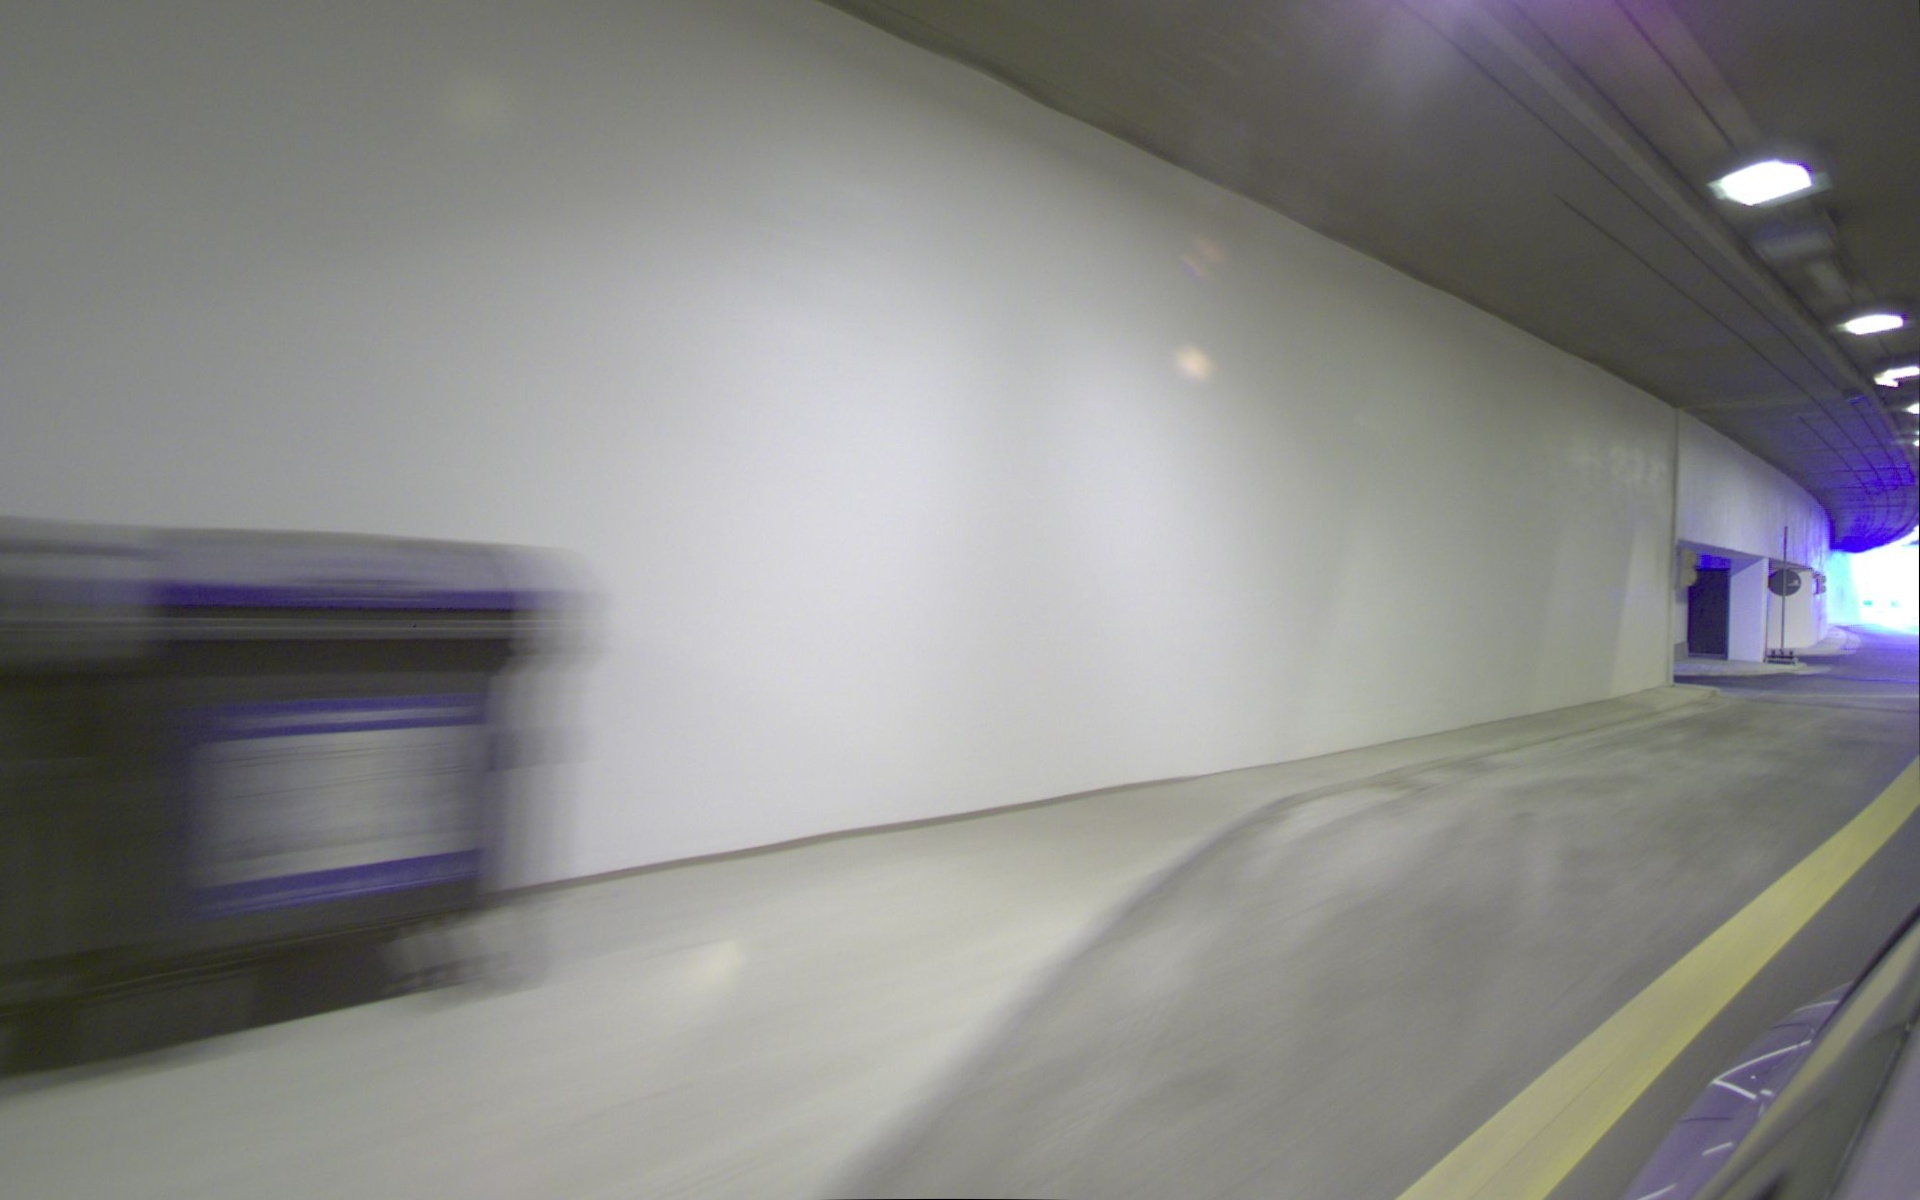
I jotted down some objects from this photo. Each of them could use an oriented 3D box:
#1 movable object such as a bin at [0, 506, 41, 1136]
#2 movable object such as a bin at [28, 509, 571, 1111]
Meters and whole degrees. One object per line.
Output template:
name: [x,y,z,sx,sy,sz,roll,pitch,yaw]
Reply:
movable object such as a bin: [-3.096,0.515,2.365,1.340,1.463,1.148,-1,1,-40]
movable object such as a bin: [-2.115,0.497,3.303,1.299,1.463,1.100,-1,1,-40]
